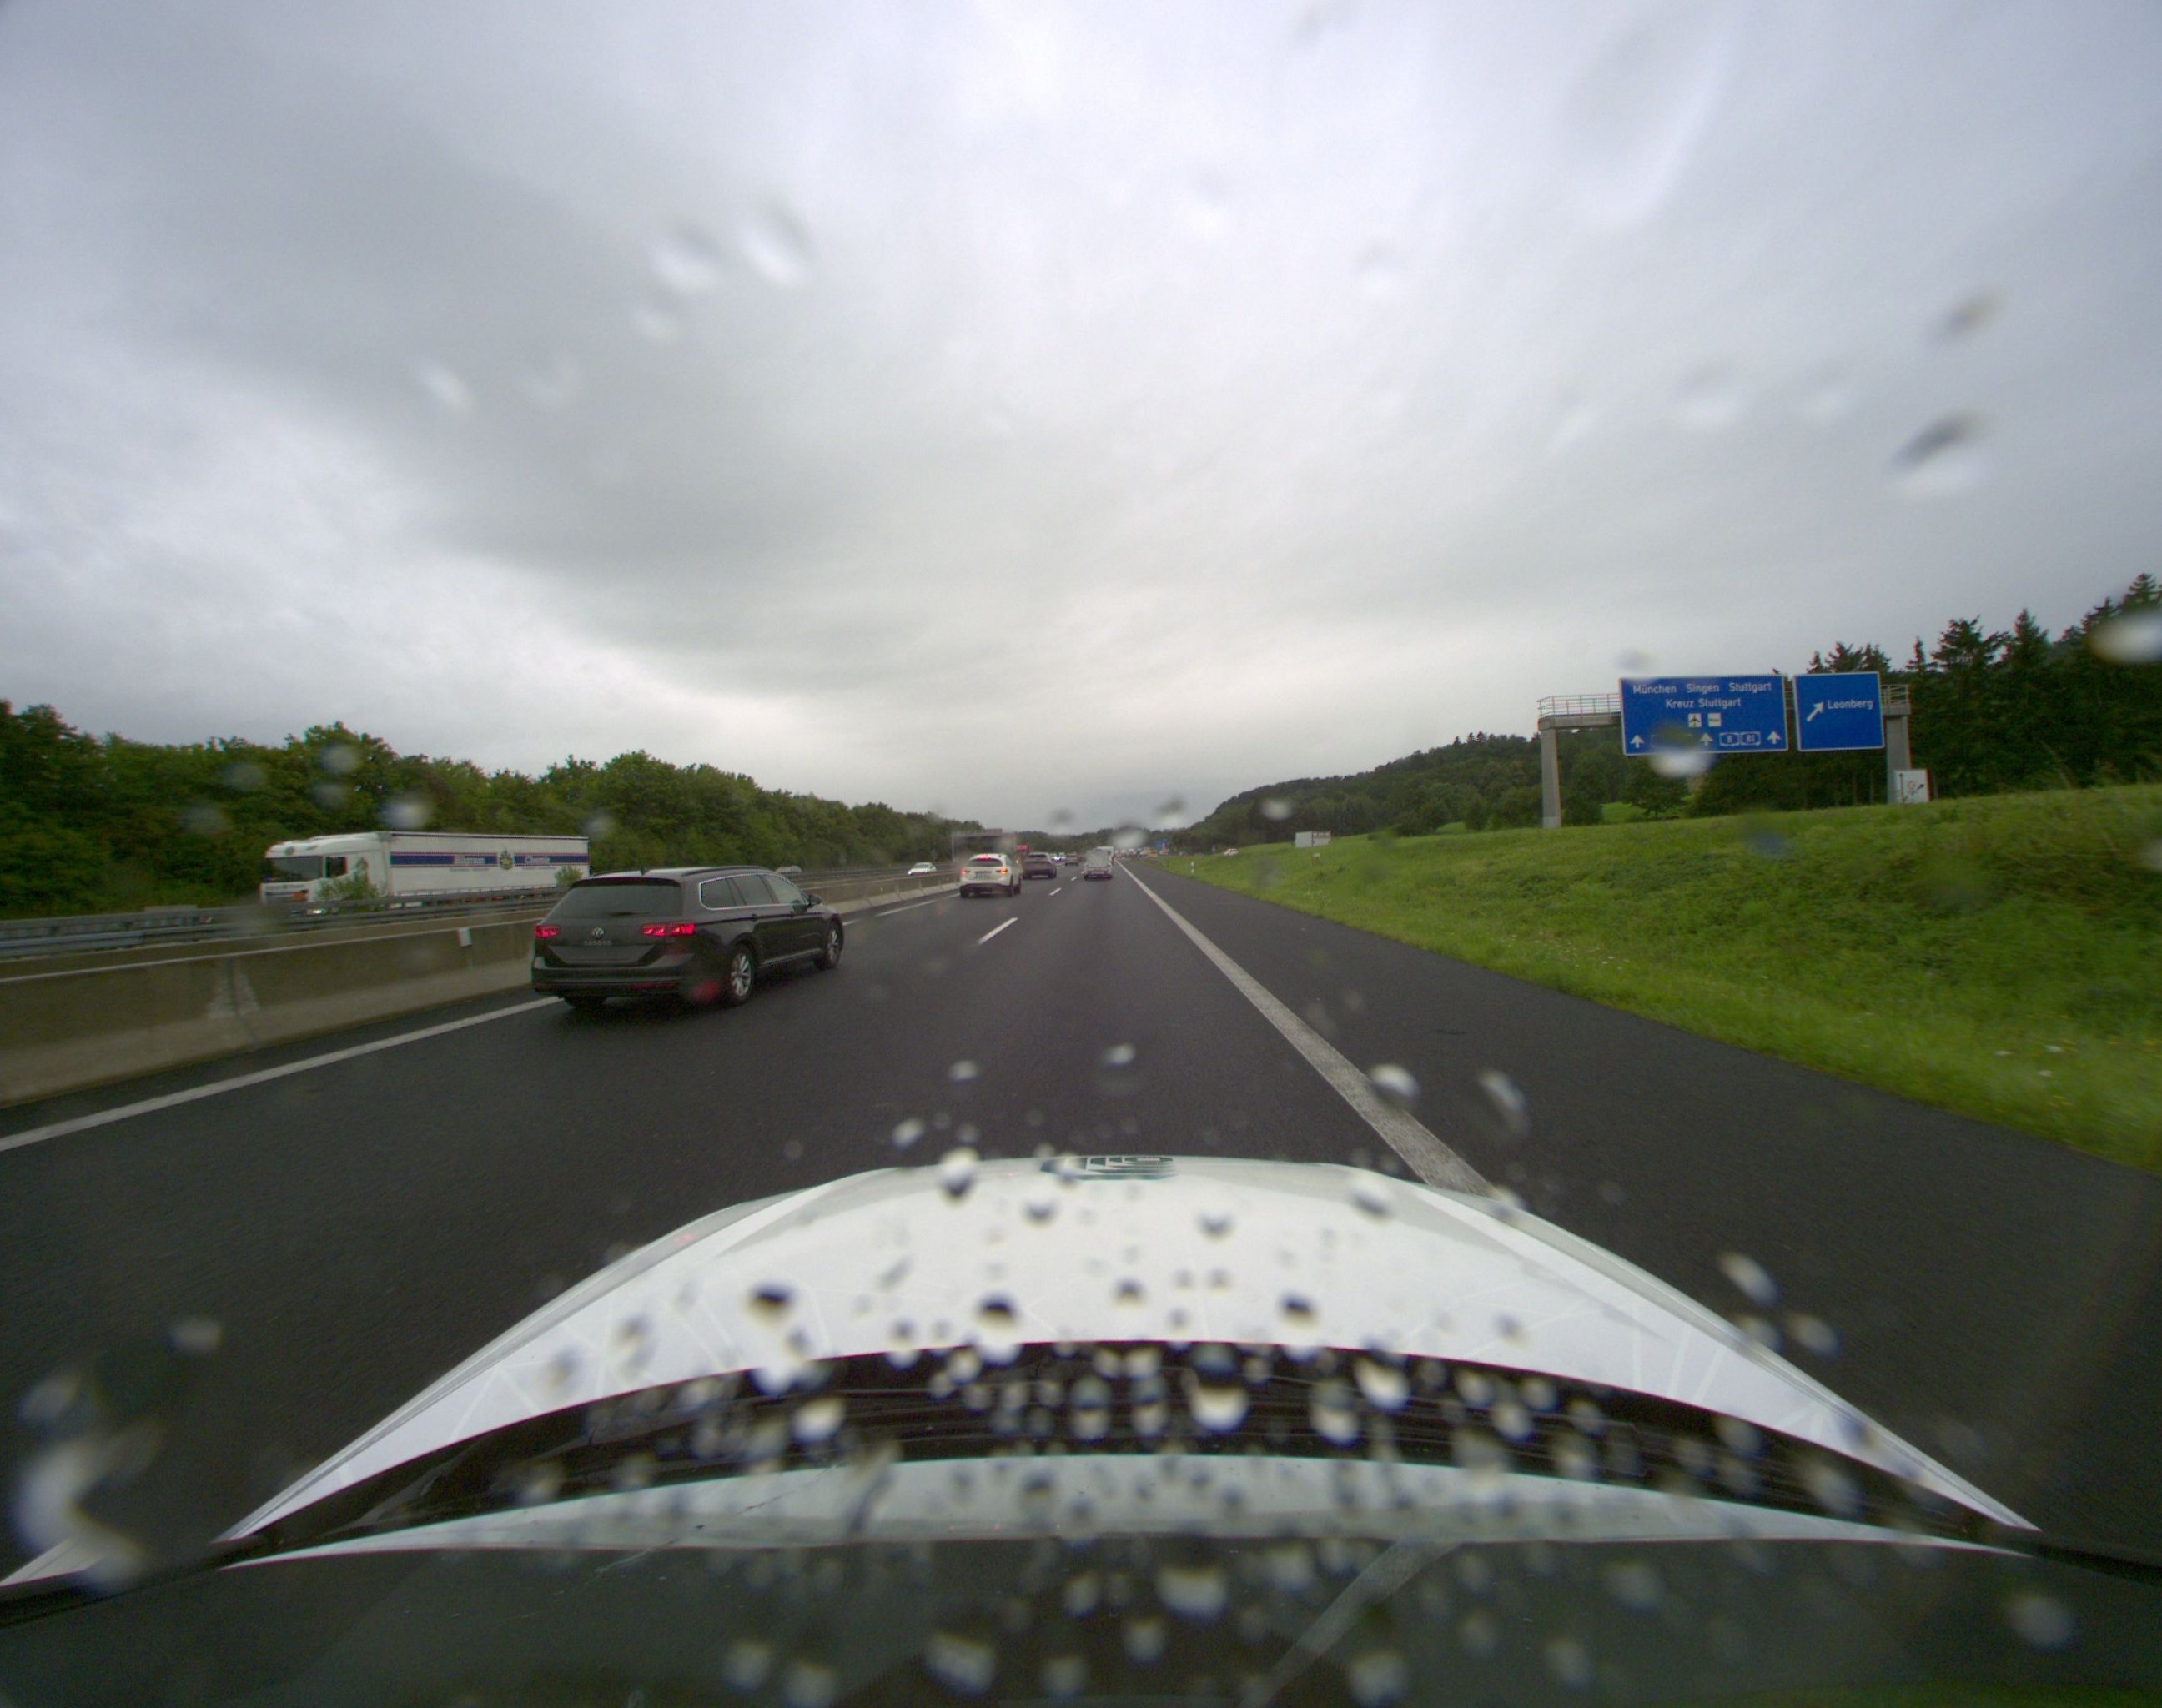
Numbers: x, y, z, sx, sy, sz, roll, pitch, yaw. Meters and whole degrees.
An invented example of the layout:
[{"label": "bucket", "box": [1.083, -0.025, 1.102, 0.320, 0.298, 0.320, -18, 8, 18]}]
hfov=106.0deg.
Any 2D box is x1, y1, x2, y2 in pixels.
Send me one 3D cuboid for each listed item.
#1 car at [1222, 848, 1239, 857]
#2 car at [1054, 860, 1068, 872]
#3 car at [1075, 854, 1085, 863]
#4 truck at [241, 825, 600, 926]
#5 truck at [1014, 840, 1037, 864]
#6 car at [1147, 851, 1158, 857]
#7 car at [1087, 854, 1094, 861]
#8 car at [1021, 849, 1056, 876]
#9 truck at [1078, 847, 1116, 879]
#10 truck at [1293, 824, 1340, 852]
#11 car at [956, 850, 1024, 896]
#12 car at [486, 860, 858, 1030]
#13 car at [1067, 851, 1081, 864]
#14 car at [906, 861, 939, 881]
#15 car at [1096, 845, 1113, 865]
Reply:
[{"label": "car", "box": [26.043, -0.228, 141.916, 1.989, 1.552, 3.995, 0, 0, -3]}, {"label": "car", "box": [-2.921, 1.758, 121.170, 1.812, 1.662, 4.019, -2, 0, 2]}, {"label": "car", "box": [-0.171, 0.894, 159.676, 1.639, 1.574, 4.002, 0, 0, 2]}, {"label": "truck", "box": [-30.916, 0.825, 40.432, 3.165, 3.808, 17.143, -2, 0, 2]}, {"label": "truck", "box": [-11.169, -0.405, 164.553, 3.386, 4.733, 10.491, -1, 0, 2]}, {"label": "car", "box": [16.488, 0.001, 187.787, 1.989, 1.552, 3.995, 0, 0, -3]}, {"label": "car", "box": [2.429, 0.811, 200.975, 1.639, 1.574, 4.002, 0, 0, 2]}, {"label": "car", "box": [-2.774, 0.556, 54.363, 1.968, 1.703, 4.804, -1, 0, 1]}, {"label": "truck", "box": [1.021, 0.513, 51.335, 2.234, 1.839, 6.586, -1, 0, 1]}, {"label": "truck", "box": [31.981, -2.086, 110.948, 3.815, 3.659, 8.266, 0, 0, -2]}, {"label": "car", "box": [-3.492, 0.684, 32.042, 2.041, 1.670, 4.542, -1, 0, 1]}, {"label": "car", "box": [-4.327, 0.838, 9.692, 1.780, 1.459, 4.806, -1, 0, 3]}, {"label": "car", "box": [-0.930, 0.460, 114.177, 1.732, 1.794, 4.002, -1, 0, 2]}, {"label": "car", "box": [-14.170, 1.505, 73.153, 1.986, 1.662, 4.315, -2, 0, 1]}, {"label": "car", "box": [3.380, 0.179, 116.219, 2.323, 2.725, 6.542, -1, 0, 2]}]
